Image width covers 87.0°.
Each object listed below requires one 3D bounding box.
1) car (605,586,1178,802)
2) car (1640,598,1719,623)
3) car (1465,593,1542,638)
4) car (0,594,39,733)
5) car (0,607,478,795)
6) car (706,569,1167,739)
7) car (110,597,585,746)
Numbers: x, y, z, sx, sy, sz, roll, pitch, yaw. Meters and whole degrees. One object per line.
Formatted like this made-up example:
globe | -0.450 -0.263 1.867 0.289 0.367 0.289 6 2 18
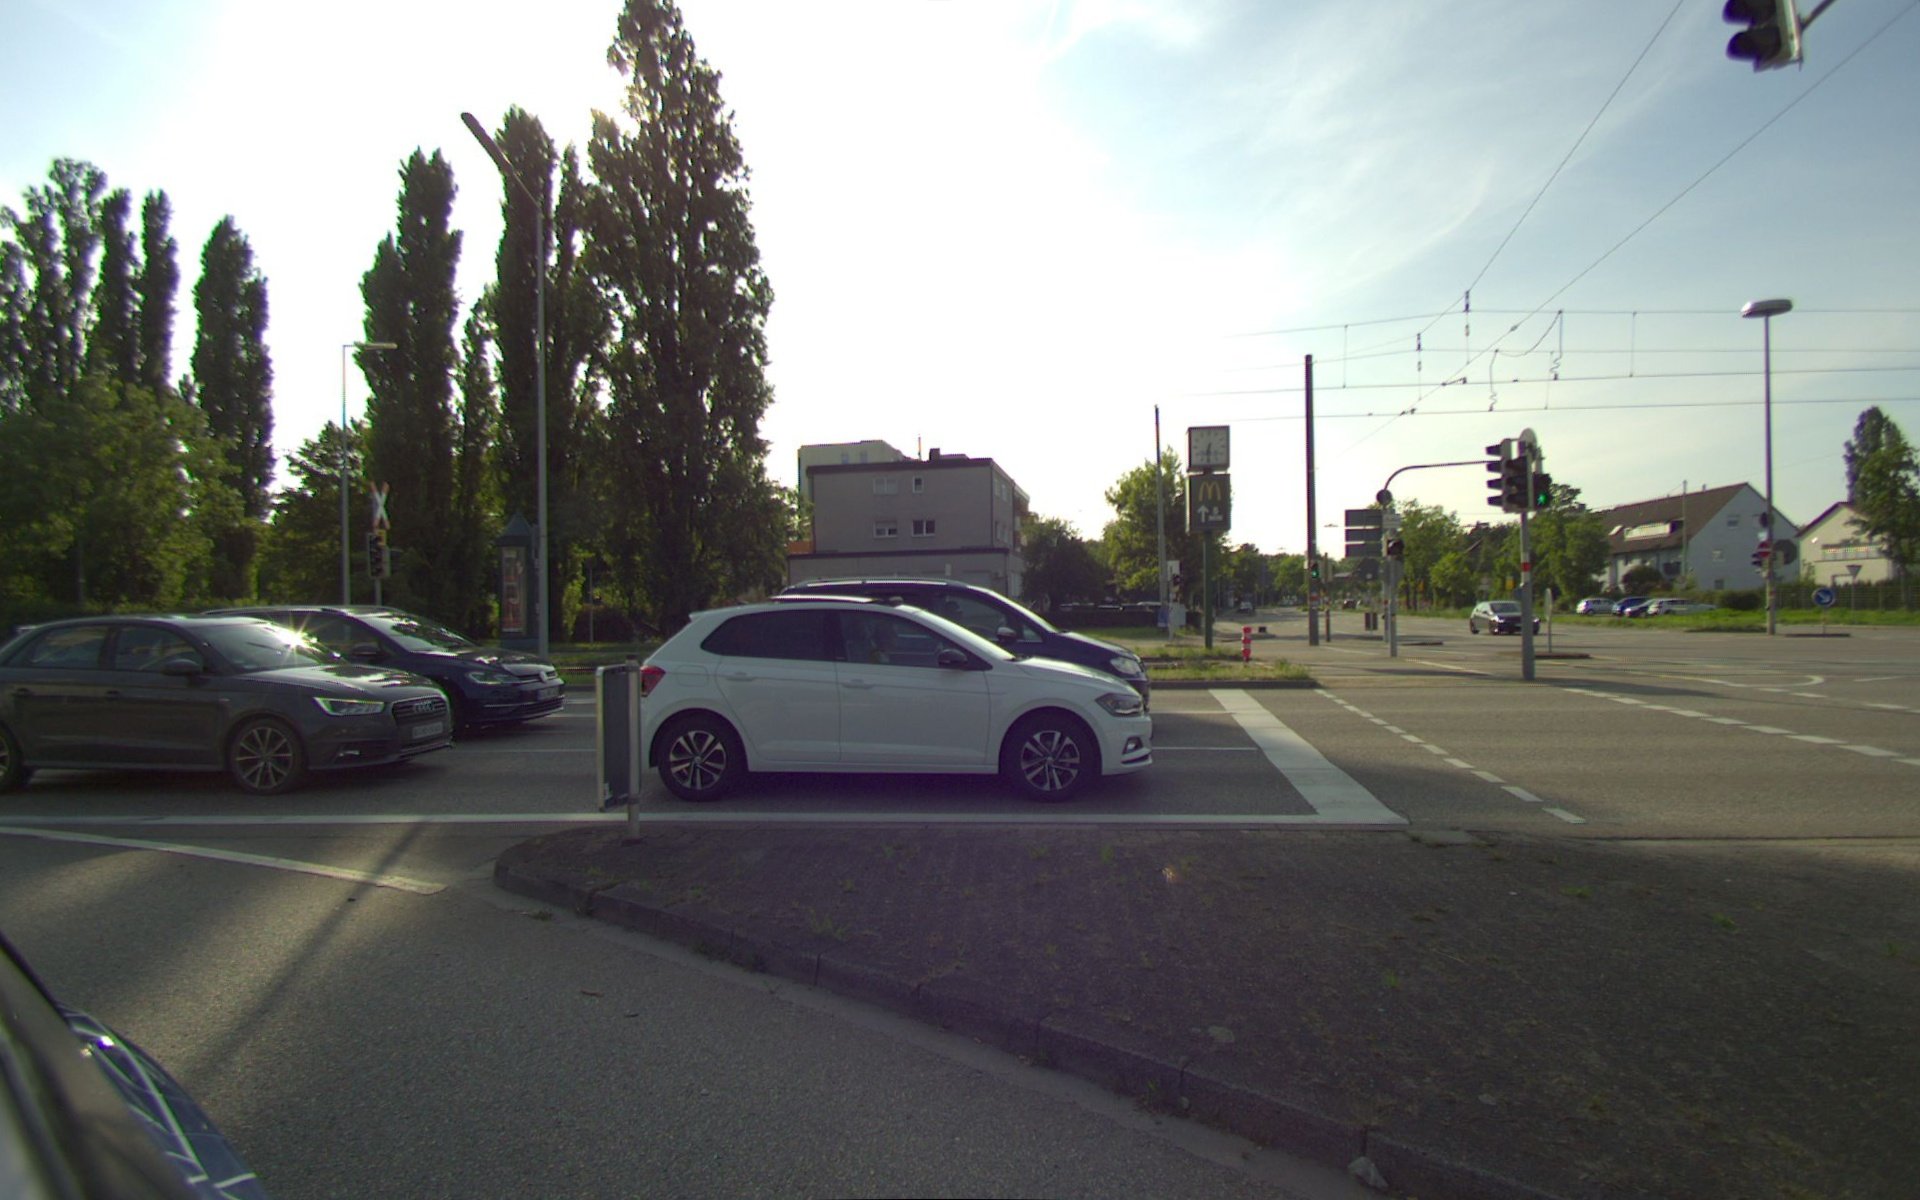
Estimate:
car | -0.468 0.678 7.805 3.963 1.454 1.659 -1 -1 5
car | 51.961 0.749 73.156 4.176 1.696 1.993 0 1 12
car | 23.337 0.652 43.632 1.501 1.806 3.992 -1 -1 7
car | -13.645 0.805 11.972 4.030 1.683 1.768 -1 0 3
car | -6.350 0.804 8.600 3.779 1.408 1.644 -1 -1 5
car | -0.231 0.582 11.010 4.685 1.664 1.509 -1 -1 6
car | -6.810 0.768 11.491 4.496 1.519 1.702 -1 0 6
